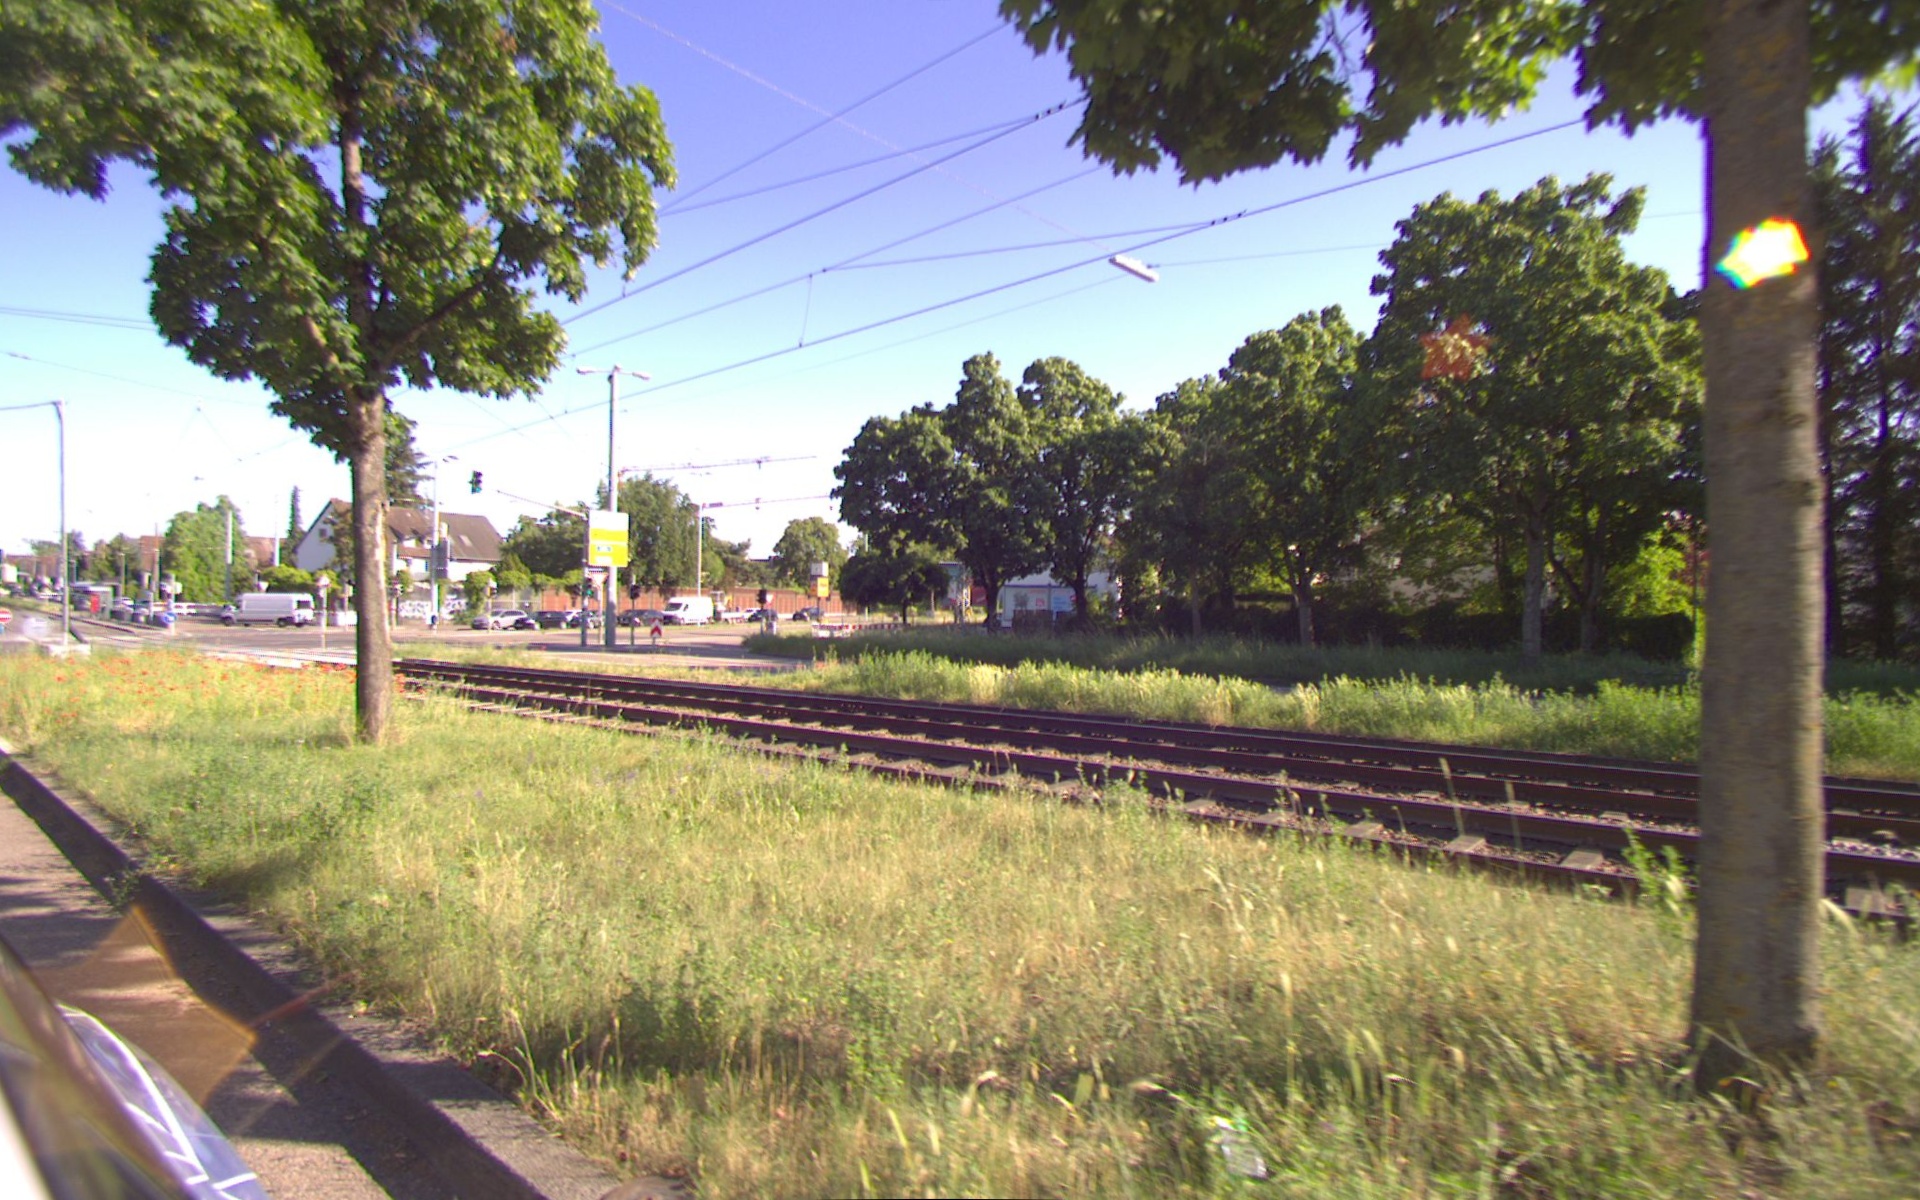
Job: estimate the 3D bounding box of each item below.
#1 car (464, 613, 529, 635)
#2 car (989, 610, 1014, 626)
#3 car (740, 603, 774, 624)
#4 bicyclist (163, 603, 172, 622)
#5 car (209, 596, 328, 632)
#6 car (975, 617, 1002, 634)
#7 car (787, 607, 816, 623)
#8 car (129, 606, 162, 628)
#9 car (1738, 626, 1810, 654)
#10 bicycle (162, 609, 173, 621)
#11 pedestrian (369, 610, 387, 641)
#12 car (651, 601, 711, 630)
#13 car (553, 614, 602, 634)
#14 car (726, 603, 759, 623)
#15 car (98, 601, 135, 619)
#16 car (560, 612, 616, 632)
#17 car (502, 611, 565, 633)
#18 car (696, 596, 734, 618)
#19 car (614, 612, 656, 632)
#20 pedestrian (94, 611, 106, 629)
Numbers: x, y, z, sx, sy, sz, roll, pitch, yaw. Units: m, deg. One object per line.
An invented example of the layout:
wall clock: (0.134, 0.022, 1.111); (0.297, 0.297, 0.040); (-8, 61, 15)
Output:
car: (-33.054, 1.674, 72.366); (1.657, 1.488, 4.612); (1, -1, 16)
car: (4.698, 1.984, 113.907); (1.983, 1.775, 3.978); (0, 0, 17)
car: (-20.467, 1.356, 102.179); (1.791, 2.029, 3.981); (1, -1, 14)
bicyclist: (-68.931, 1.085, 88.009); (0.648, 1.620, 0.484); (0, -1, 43)
car: (-49.898, 0.980, 73.153); (6.763, 2.476, 2.352); (1, -1, -7)
car: (3.077, 2.688, 109.419); (1.983, 1.775, 3.978); (0, -1, 17)
car: (-17.230, 1.658, 110.148); (1.791, 1.755, 3.981); (0, -1, 14)
car: (-65.000, 1.356, 80.746); (1.770, 1.700, 4.005); (1, -1, -43)
car: (58.698, 2.842, 73.003); (3.998, 1.763, 1.851); (1, 1, 41)
bicycle: (-68.901, 1.282, 87.970); (1.949, 1.050, 0.501); (0, -1, 44)
pedestrian: (-37.036, 1.645, 64.390); (0.765, 1.963, 0.611); (0, -1, 0)
car: (-24.320, 1.317, 88.432); (2.163, 2.429, 5.887); (0, -1, 18)
car: (-30.499, 1.908, 80.758); (1.657, 1.488, 3.979); (1, -1, 16)
car: (-22.703, 1.350, 105.879); (1.791, 2.029, 3.981); (1, -1, 14)
car: (-78.521, 0.885, 94.174); (4.688, 1.608, 1.795); (0, -1, 39)
car: (-28.197, 1.635, 76.790); (1.921, 1.477, 4.237); (-1, -1, 16)
car: (-30.081, 1.525, 71.577); (1.921, 1.477, 4.227); (0, 0, 16)
car: (-22.810, 0.666, 94.272); (1.792, 2.029, 3.980); (1, -1, 15)
car: (-26.260, 1.788, 81.966); (1.485, 1.579, 3.507); (0, -1, 18)
pedestrian: (-69.341, 1.609, 81.570); (0.711, 1.425, 0.615); (-1, -2, 42)
